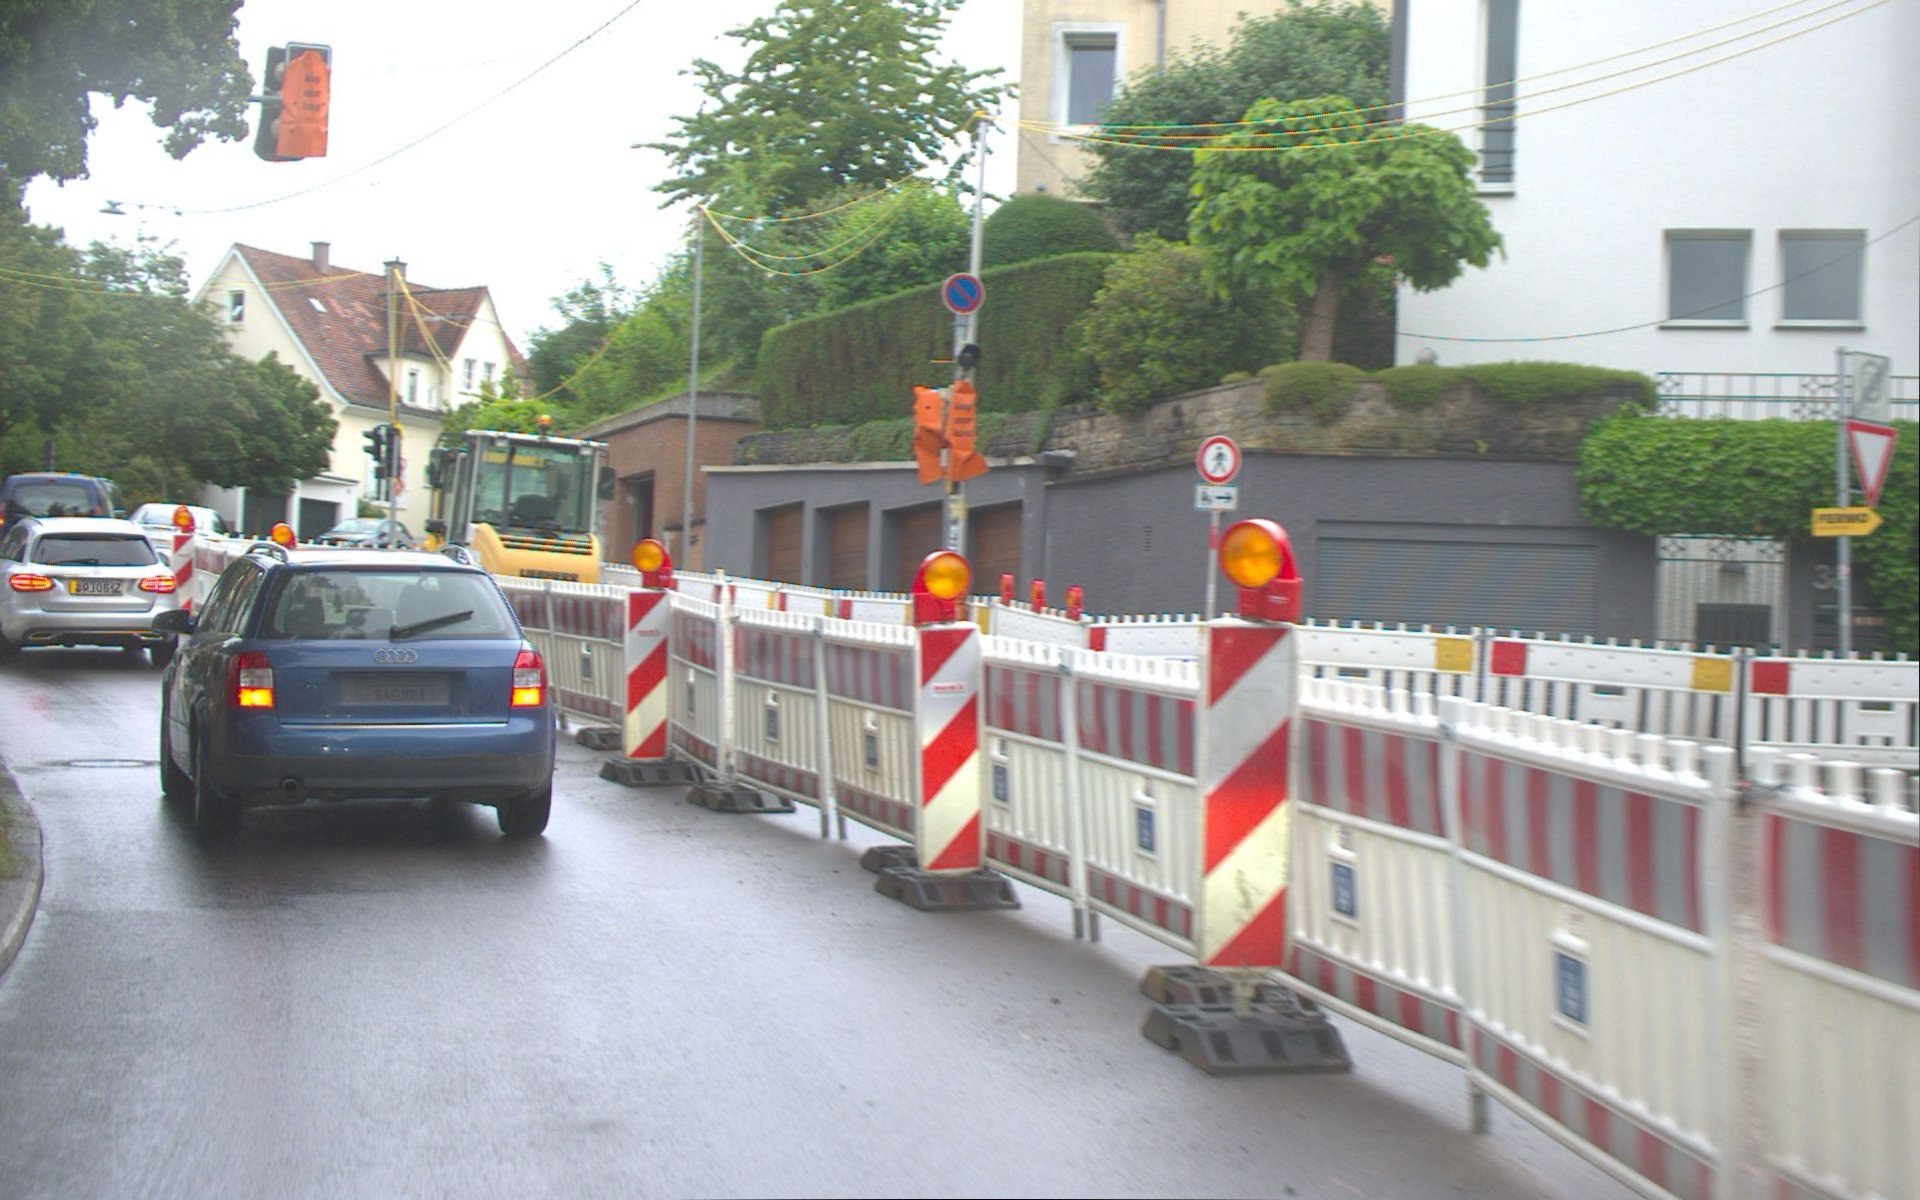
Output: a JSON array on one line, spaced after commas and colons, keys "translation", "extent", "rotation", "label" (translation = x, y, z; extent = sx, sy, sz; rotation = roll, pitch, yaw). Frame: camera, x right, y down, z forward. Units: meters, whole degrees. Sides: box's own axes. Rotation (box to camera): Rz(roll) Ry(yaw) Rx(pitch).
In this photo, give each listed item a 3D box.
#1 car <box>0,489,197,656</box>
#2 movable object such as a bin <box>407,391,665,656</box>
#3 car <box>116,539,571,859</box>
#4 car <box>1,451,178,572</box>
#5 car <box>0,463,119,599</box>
[{"translation": [-9.081, -0.277, 35.394], "extent": [1.925, 1.612, 4.321], "rotation": [0, 0, -19], "label": "car"}, {"translation": [-4.507, -0.863, 36.031], "extent": [1.993, 2.604, 4.002], "rotation": [0, 3, -17], "label": "movable object such as a bin"}, {"translation": [-3.314, 0.415, 17.894], "extent": [1.785, 1.437, 3.965], "rotation": [0, 1, -18], "label": "car"}, {"translation": [-15.131, -1.502, 59.631], "extent": [1.993, 2.007, 4.000], "rotation": [-1, 0, -29], "label": "car"}, {"translation": [-13.290, -0.966, 49.829], "extent": [1.993, 1.788, 4.001], "rotation": [-1, -1, -16], "label": "car"}]
